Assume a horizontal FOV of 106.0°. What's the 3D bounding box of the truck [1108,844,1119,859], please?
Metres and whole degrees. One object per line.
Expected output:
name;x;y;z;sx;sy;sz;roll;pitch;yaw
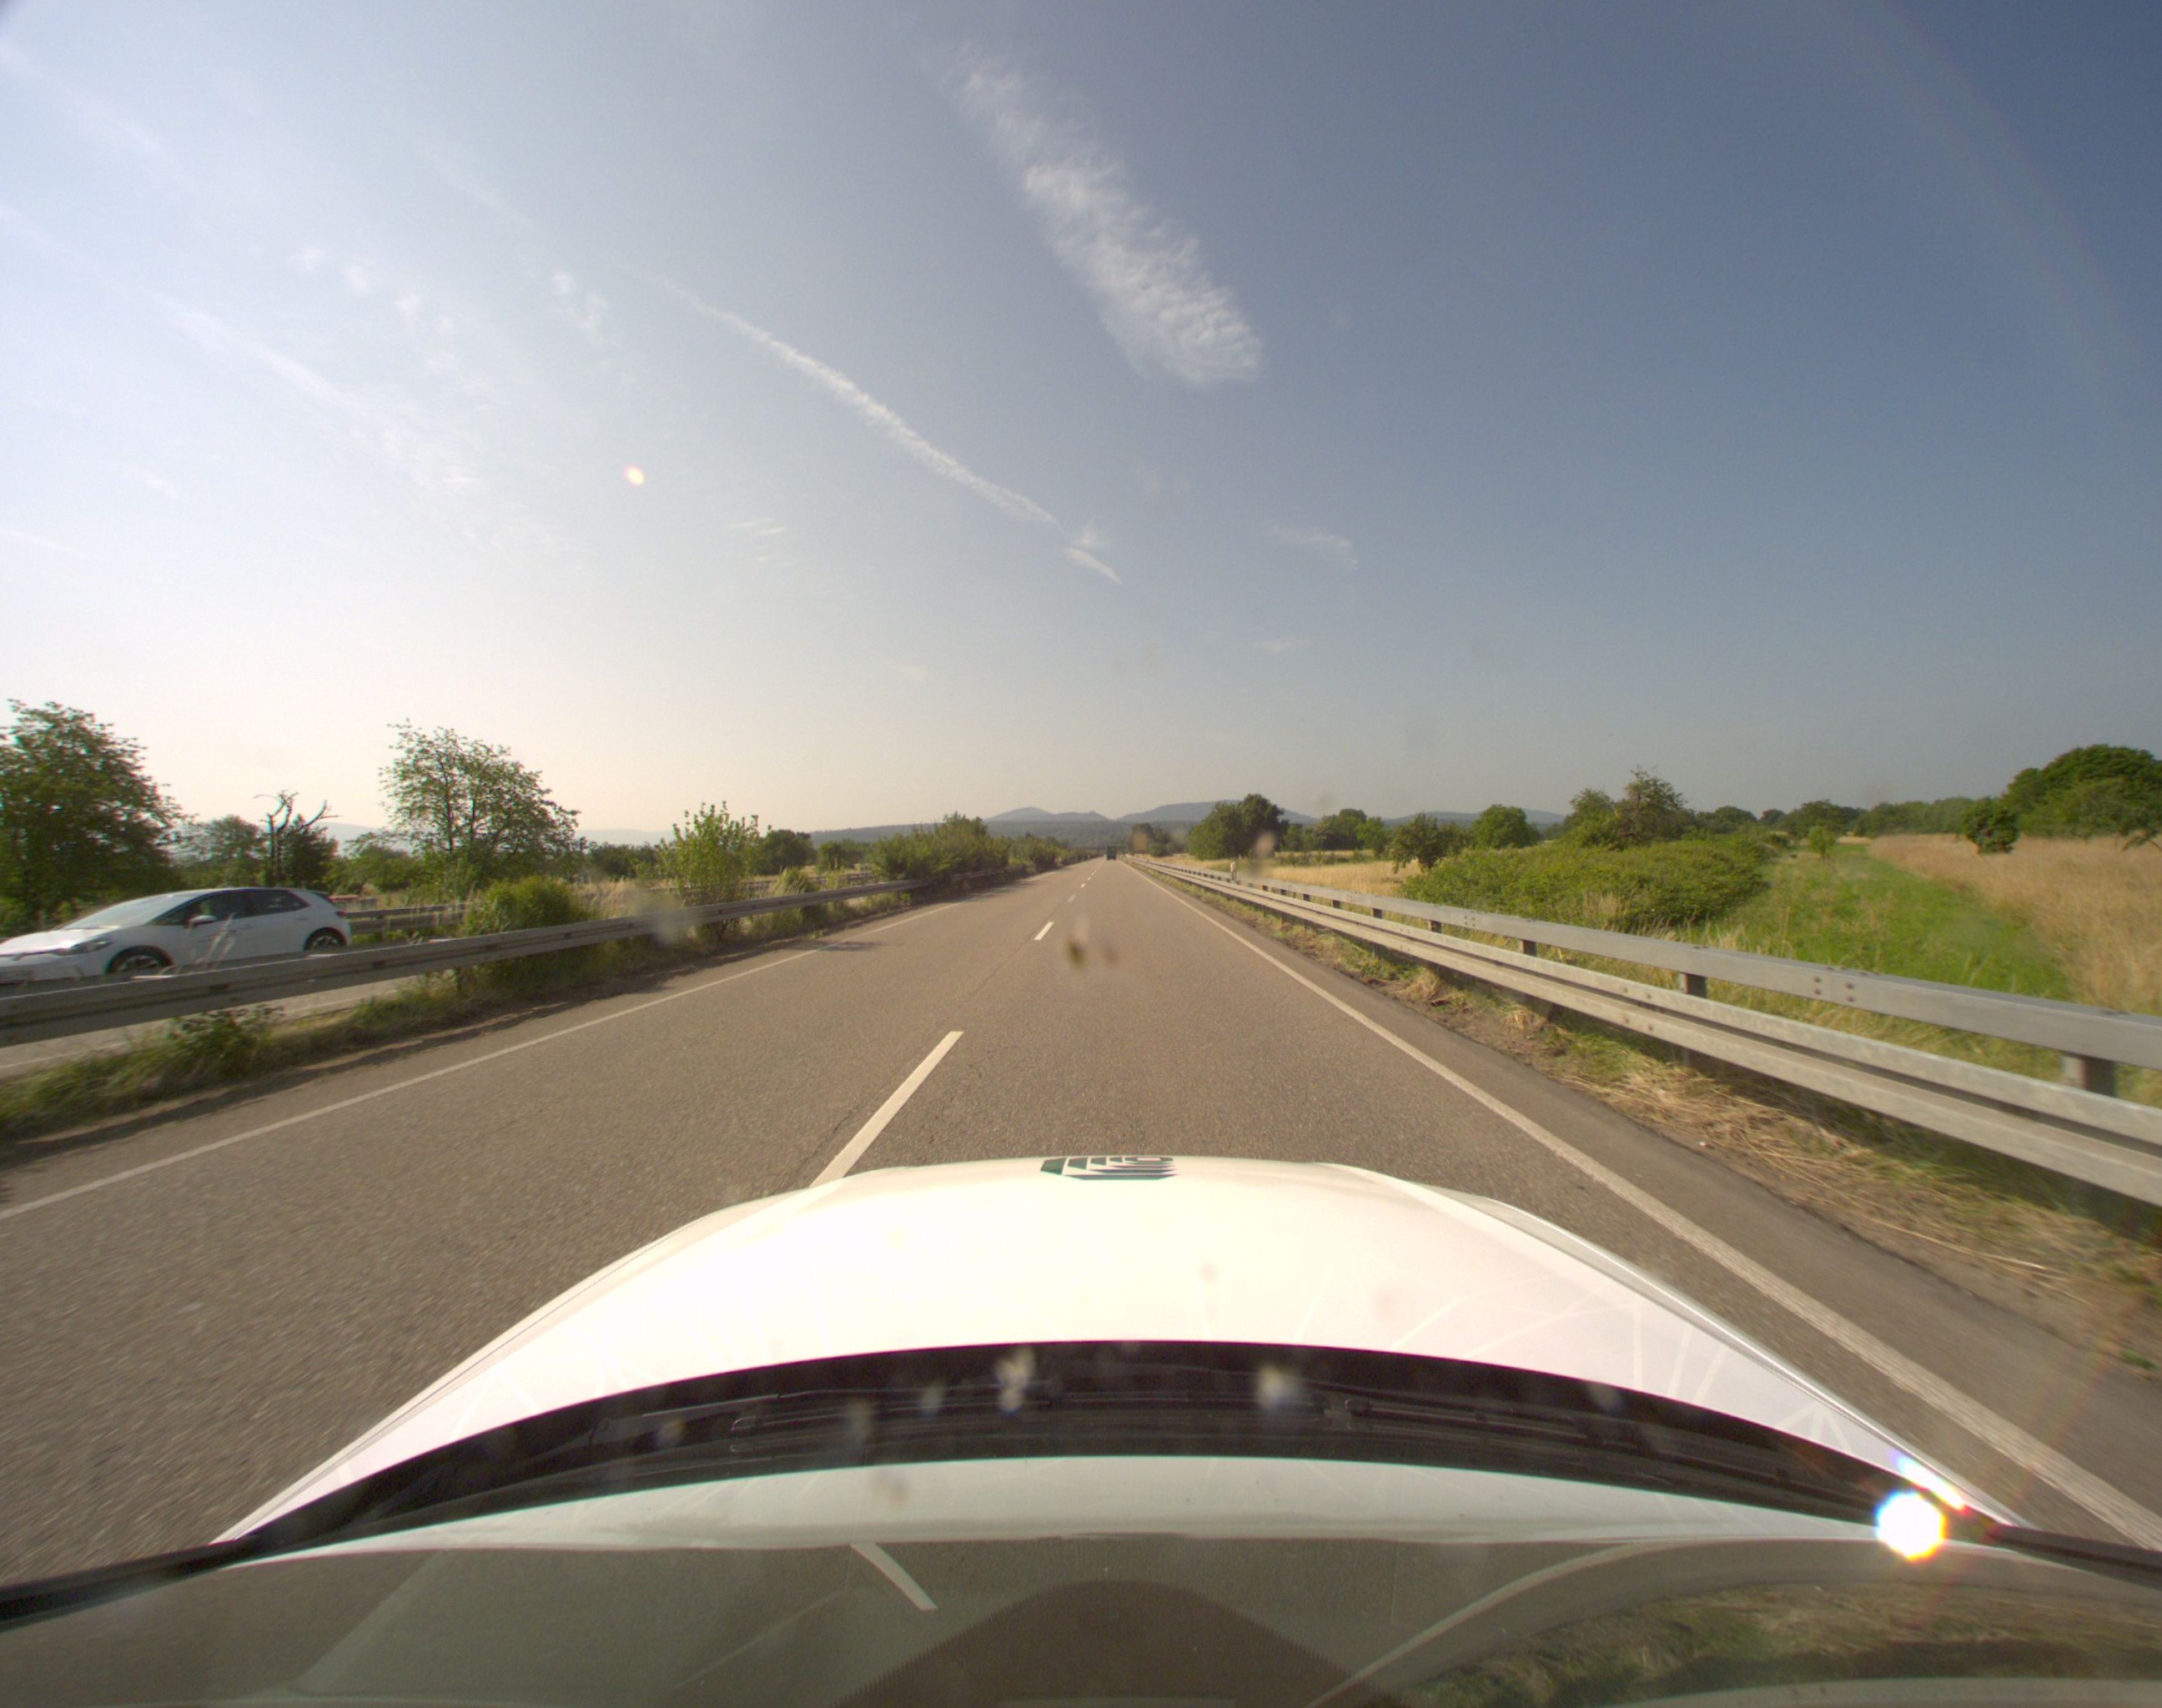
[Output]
truck;8.661;-0.724;217.330;2.711;3.965;10.422;0;1;2

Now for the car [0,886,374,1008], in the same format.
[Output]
car;-14.447;1.381;13.489;1.686;1.526;4.190;-1;0;2
